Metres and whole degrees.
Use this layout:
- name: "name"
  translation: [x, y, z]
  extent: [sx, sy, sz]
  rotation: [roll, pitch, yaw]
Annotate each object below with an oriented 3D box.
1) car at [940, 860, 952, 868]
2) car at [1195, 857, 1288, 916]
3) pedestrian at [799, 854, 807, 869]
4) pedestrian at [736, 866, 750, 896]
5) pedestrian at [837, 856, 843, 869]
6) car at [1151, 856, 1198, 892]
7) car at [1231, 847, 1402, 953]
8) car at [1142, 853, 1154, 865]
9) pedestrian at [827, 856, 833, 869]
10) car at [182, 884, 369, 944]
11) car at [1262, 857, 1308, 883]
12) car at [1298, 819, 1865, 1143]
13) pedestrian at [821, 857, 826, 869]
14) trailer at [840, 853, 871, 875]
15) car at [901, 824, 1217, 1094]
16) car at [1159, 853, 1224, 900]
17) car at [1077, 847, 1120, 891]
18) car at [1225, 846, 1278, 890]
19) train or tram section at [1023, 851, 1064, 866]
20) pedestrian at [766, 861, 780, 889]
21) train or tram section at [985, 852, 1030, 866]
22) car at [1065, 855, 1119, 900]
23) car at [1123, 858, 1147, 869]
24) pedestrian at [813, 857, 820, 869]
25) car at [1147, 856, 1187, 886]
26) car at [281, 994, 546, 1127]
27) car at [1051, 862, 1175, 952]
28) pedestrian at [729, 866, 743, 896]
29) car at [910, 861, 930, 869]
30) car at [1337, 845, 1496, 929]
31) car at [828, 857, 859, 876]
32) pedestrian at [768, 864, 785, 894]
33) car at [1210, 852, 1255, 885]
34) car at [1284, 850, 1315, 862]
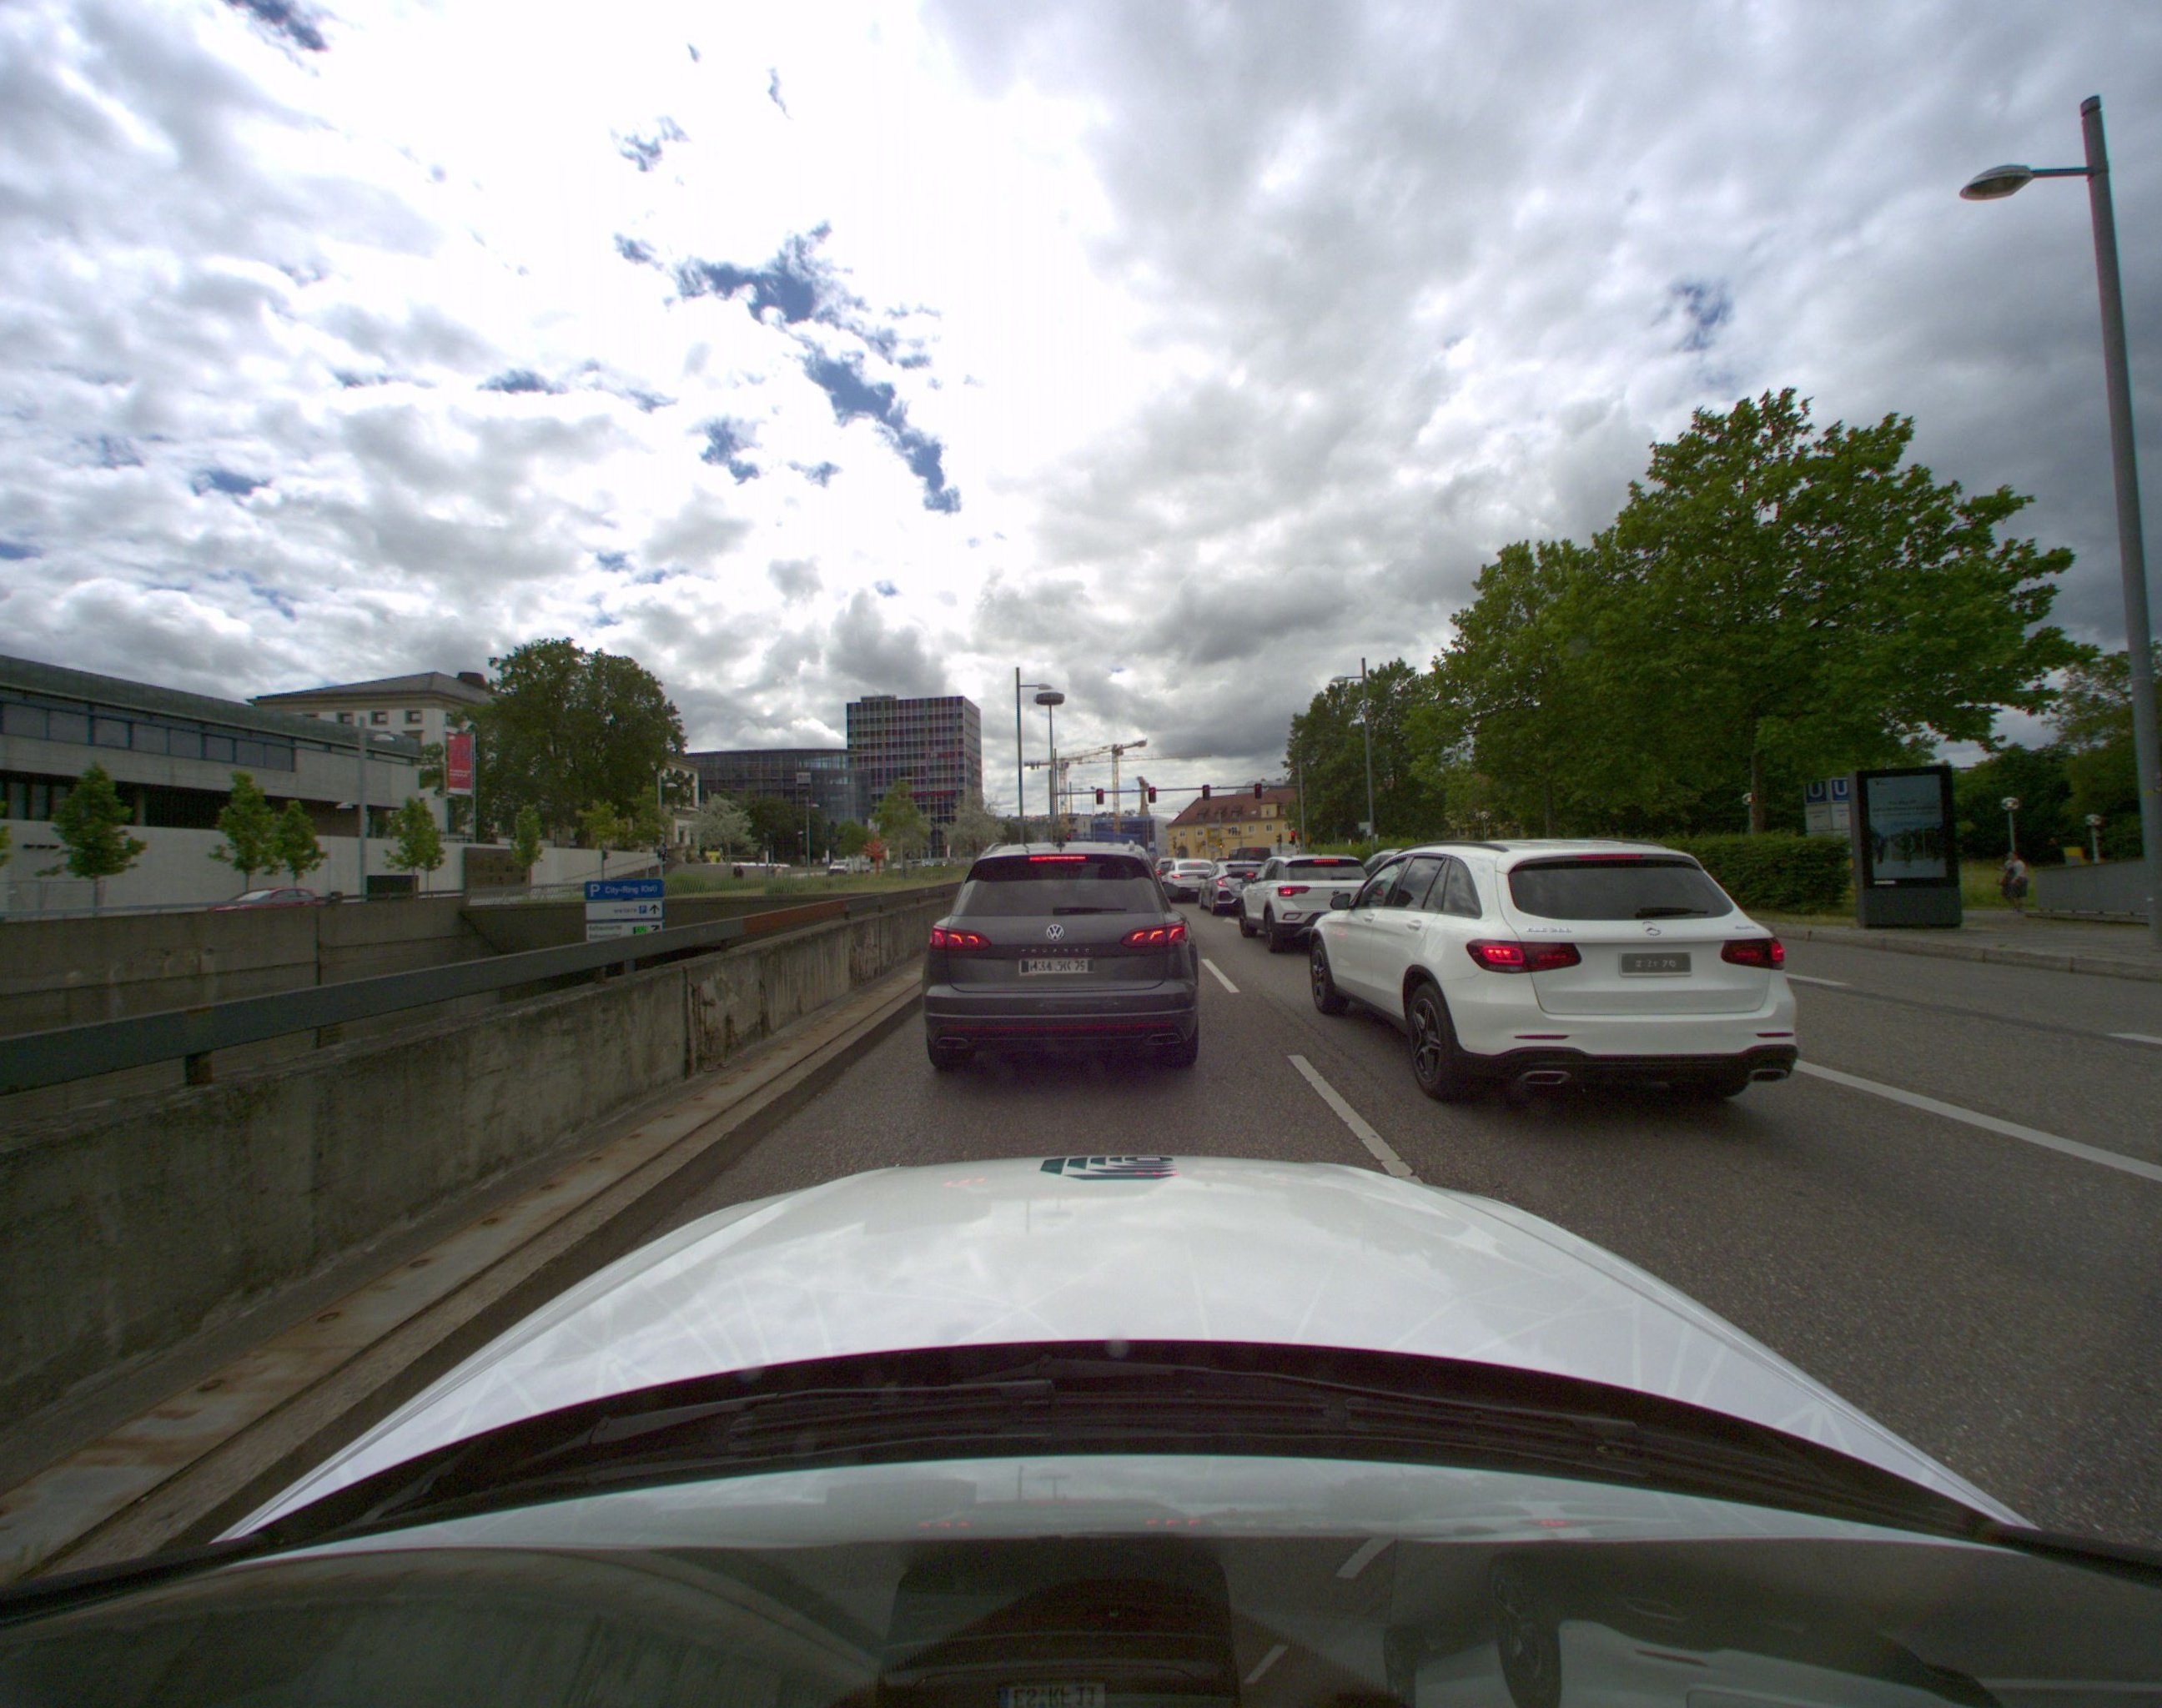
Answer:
- name: "car"
  translation: [-25.733, 1.954, 155.204]
  extent: [1.727, 1.495, 3.594]
  rotation: [0, -2, 0]
- name: "car"
  translation: [4.300, 0.844, 22.488]
  extent: [1.918, 1.432, 4.493]
  rotation: [-1, -1, 3]
- name: "pedestrian"
  translation: [-40.008, 1.083, 117.257]
  extent: [0.737, 2.013, 1.113]
  rotation: [-2, 1, -3]
- name: "pedestrian"
  translation: [-23.046, 1.830, 55.471]
  extent: [0.794, 2.013, 0.830]
  rotation: [-2, 0, -26]
- name: "pedestrian"
  translation: [-38.076, 1.408, 128.790]
  extent: [0.740, 2.013, 1.108]
  rotation: [-2, 1, -18]
- name: "car"
  translation: [4.307, 0.913, 38.043]
  extent: [1.918, 1.529, 4.050]
  rotation: [-1, -1, 3]
- name: "car"
  translation: [3.926, 0.722, 14.405]
  extent: [1.918, 1.551, 4.493]
  rotation: [-1, -1, 3]
- name: "car"
  translation: [9.164, 0.736, 111.748]
  extent: [1.612, 1.627, 4.002]
  rotation: [0, -2, 3]
- name: "pedestrian"
  translation: [-39.352, 1.361, 127.571]
  extent: [0.740, 2.013, 0.788]
  rotation: [-2, 1, -18]
- name: "car"
  translation: [-30.036, 2.171, 30.638]
  extent: [2.166, 1.854, 4.738]
  rotation: [-2, 0, 1]
- name: "car"
  translation: [11.455, 0.895, 45.920]
  extent: [1.751, 1.447, 3.633]
  rotation: [0, -1, 1]
- name: "car"
  translation: [3.175, 0.639, 6.457]
  extent: [1.918, 1.653, 4.493]
  rotation: [-1, 1, 3]
- name: "pedestrian"
  translation: [-41.732, 1.467, 131.926]
  extent: [0.740, 2.013, 0.788]
  rotation: [-2, 1, -18]
- name: "trailer"
  translation: [-27.560, 1.164, 99.834]
  extent: [2.030, 2.604, 5.511]
  rotation: [0, 0, 2]
- name: "car"
  translation: [-0.087, 0.669, 7.106]
  extent: [1.944, 1.651, 4.001]
  rotation: [-1, 0, 1]
- name: "car"
  translation: [3.881, 0.780, 29.228]
  extent: [1.918, 1.529, 4.493]
  rotation: [-1, -1, 3]
- name: "car"
  translation: [0.840, 0.688, 38.920]
  extent: [1.944, 2.018, 3.932]
  rotation: [0, 0, 1]
- name: "car"
  translation: [8.197, 0.659, 39.364]
  extent: [1.902, 2.014, 4.014]
  rotation: [0, -1, 3]
- name: "train or tram section"
  translation: [-8.124, 1.000, 176.773]
  extent: [8.836, 3.010, 2.612]
  rotation: [-1, -2, 30]
- name: "pedestrian"
  translation: [-22.731, 1.527, 60.114]
  extent: [0.729, 2.012, 0.628]
  rotation: [-2, 4, -6]
- name: "train or tram section"
  translation: [-16.435, 1.094, 181.493]
  extent: [10.296, 3.010, 2.612]
  rotation: [-1, -2, 30]
- name: "car"
  translation: [0.454, 0.859, 31.507]
  extent: [1.944, 1.600, 3.932]
  rotation: [0, 0, 1]
- name: "car"
  translation: [10.371, 1.899, 156.778]
  extent: [4.402, 2.014, 1.713]
  rotation: [-1, -2, 35]
- name: "pedestrian"
  translation: [-42.586, 1.434, 131.003]
  extent: [0.735, 2.013, 0.793]
  rotation: [-2, 1, 2]
- name: "car"
  translation: [4.620, 0.897, 44.329]
  extent: [1.918, 1.529, 4.050]
  rotation: [-1, -1, 3]
- name: "car"
  translation: [-16.313, 4.968, 20.403]
  extent: [2.209, 2.013, 5.120]
  rotation: [-2, 0, 3]
- name: "car"
  translation: [0.552, 0.846, 14.741]
  extent: [1.944, 1.384, 3.932]
  rotation: [0, 0, 1]
- name: "pedestrian"
  translation: [-23.207, 1.810, 54.750]
  extent: [0.794, 2.013, 0.830]
  rotation: [-2, 0, -26]
- name: "car"
  translation: [-33.074, 2.217, 167.661]
  extent: [4.173, 1.603, 1.764]
  rotation: [-1, -2, 38]
- name: "car"
  translation: [7.406, 0.668, 18.499]
  extent: [1.985, 1.640, 4.307]
  rotation: [-1, 0, 2]
- name: "car"
  translation: [-27.738, 1.474, 95.098]
  extent: [1.985, 2.013, 4.695]
  rotation: [-2, 1, 2]
- name: "pedestrian"
  translation: [-20.807, 1.688, 55.618]
  extent: [0.852, 2.013, 0.633]
  rotation: [-2, 1, 31]
- name: "car"
  translation: [8.305, 0.789, 44.905]
  extent: [1.902, 1.697, 4.014]
  rotation: [0, -1, 3]
- name: "car"
  translation: [31.804, 0.316, 118.645]
  extent: [4.060, 1.610, 1.841]
  rotation: [-1, -2, 37]
